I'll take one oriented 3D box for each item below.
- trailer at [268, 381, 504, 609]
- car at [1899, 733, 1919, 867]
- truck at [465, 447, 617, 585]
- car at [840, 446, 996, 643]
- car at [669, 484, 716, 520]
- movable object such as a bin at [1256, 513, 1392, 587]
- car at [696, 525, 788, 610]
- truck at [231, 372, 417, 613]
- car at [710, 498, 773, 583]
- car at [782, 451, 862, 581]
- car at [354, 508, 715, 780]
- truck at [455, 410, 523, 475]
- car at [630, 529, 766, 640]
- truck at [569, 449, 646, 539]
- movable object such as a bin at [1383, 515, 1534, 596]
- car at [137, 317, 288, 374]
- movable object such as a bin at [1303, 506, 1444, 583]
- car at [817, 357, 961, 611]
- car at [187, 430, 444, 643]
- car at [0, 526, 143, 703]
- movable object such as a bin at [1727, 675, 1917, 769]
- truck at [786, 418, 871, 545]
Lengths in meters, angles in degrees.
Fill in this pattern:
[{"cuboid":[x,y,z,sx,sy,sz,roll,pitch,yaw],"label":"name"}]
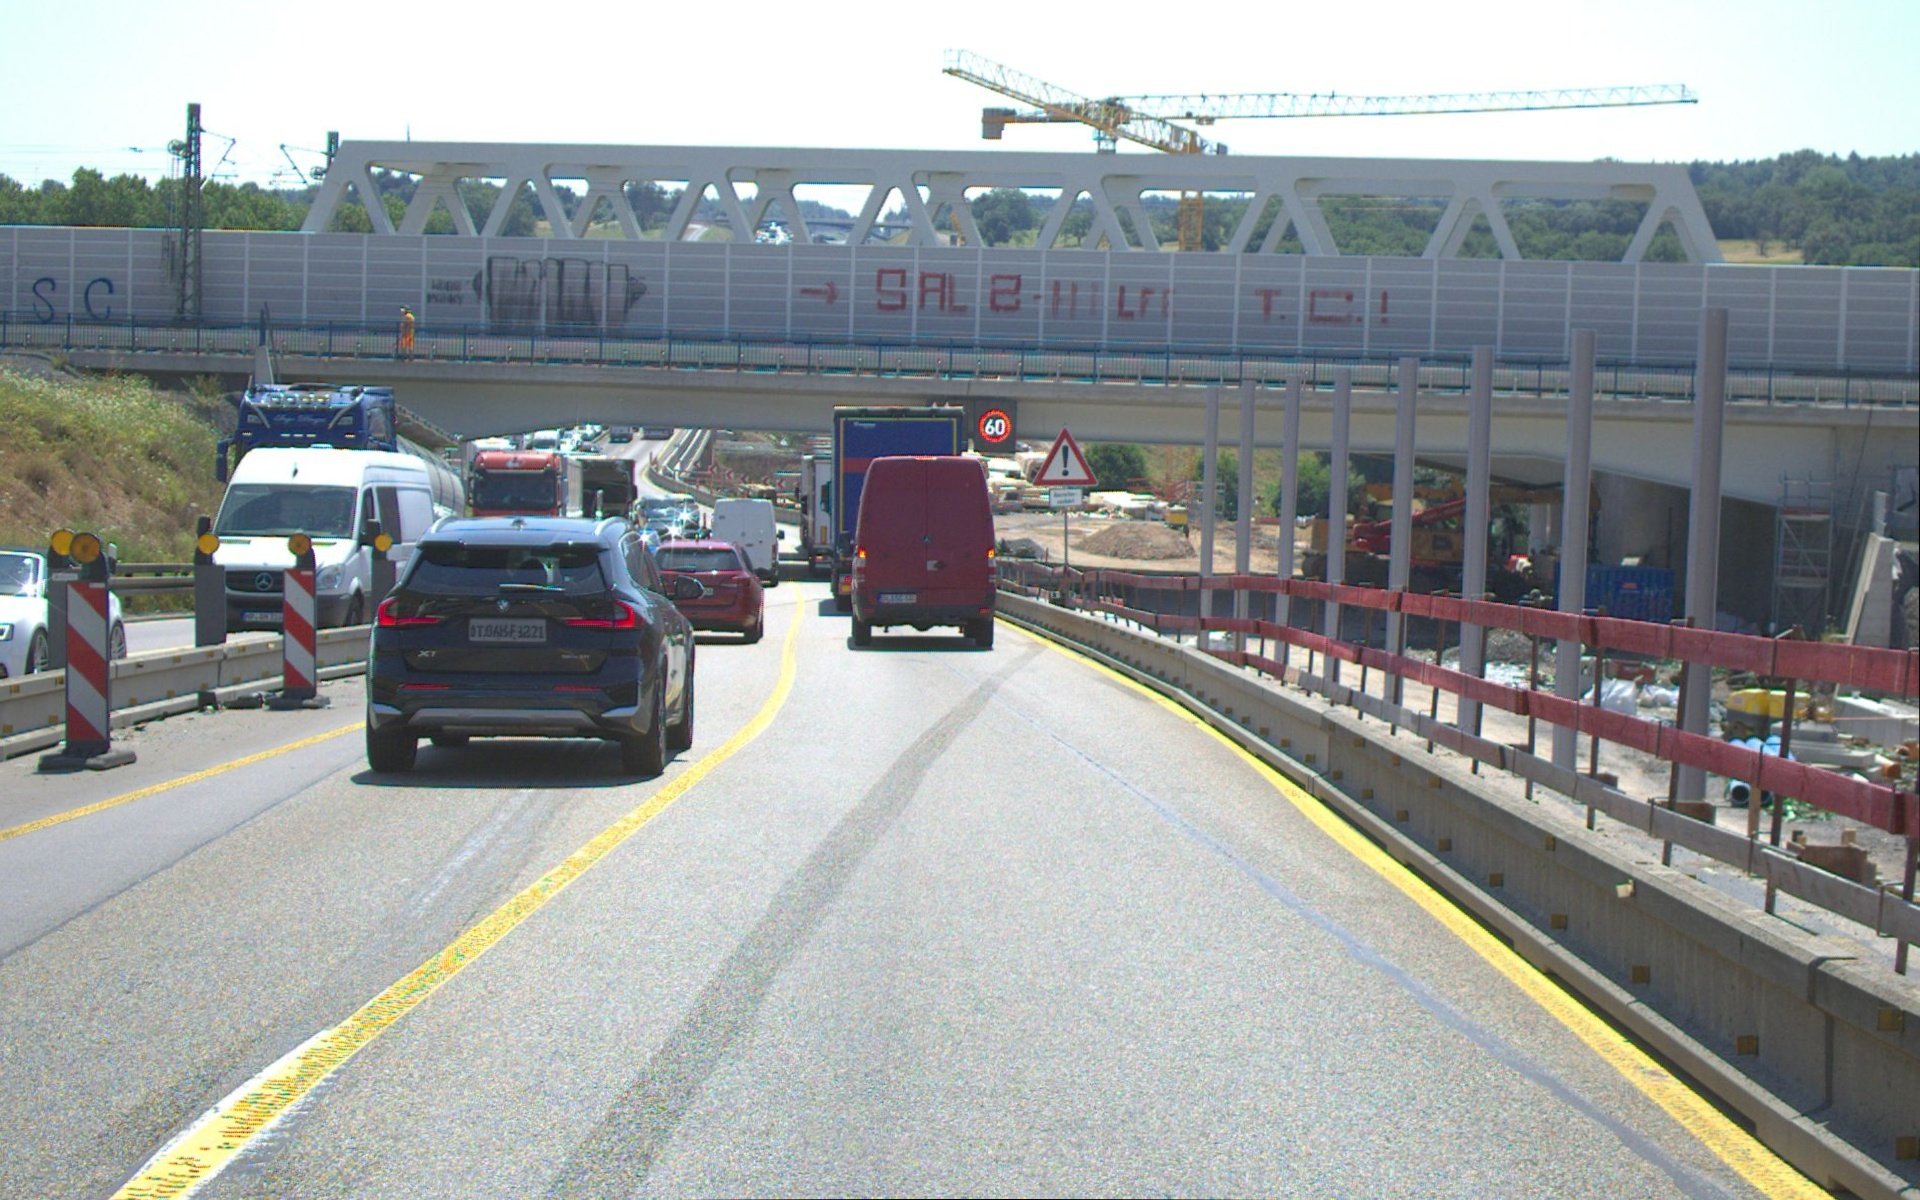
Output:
[{"cuboid":[-10.915,-1.999,66.560,2.347,4.001,11.450,1,1,1],"label":"trailer"},{"cuboid":[15.727,2.933,47.730,4.727,1.767,2.000,3,3,-2],"label":"car"},{"cuboid":[-12.430,-2.519,103.134,2.835,3.839,12.913,1,1,0],"label":"truck"},{"cuboid":[-0.653,-0.820,49.243,1.988,2.681,4.624,0,2,-4],"label":"car"},{"cuboid":[-15.064,-5.507,193.202,1.993,2.007,4.001,1,1,-13],"label":"car"},{"cuboid":[14.322,-1.970,135.494,5.147,2.798,2.142,1,1,3],"label":"movable object such as a bin"},{"cuboid":[-4.479,-0.687,70.386,1.839,1.648,4.166,0,2,-4],"label":"car"},{"cuboid":[-11.024,-1.853,59.857,2.358,4.001,4.000,1,1,1],"label":"truck"},{"cuboid":[-6.390,-1.767,100.666,1.775,2.432,4.207,0,2,-4],"label":"car"},{"cuboid":[-4.603,-2.792,113.720,2.450,4.146,6.861,0,1,-4],"label":"car"},{"cuboid":[-2.702,0.206,22.796,1.879,1.612,4.499,0,2,-1],"label":"car"},{"cuboid":[-29.673,-9.832,216.028,2.834,3.839,12.917,1,1,-14],"label":"truck"},{"cuboid":[-3.760,-0.256,49.886,1.775,1.512,4.207,0,2,-2],"label":"car"},{"cuboid":[-15.851,-4.767,155.392,2.834,3.839,12.914,1,1,-3],"label":"truck"},{"cuboid":[17.986,-1.624,124.212,5.147,2.798,2.142,1,1,3],"label":"movable object such as a bin"},{"cuboid":[-25.214,-8.589,116.058,4.555,1.776,1.960,1,1,10],"label":"car"},{"cuboid":[15.751,-2.129,131.131,5.147,2.798,2.142,1,1,3],"label":"movable object such as a bin"},{"cuboid":[-1.628,-2.444,73.400,2.620,5.015,10.399,0,2,-4],"label":"car"},{"cuboid":[-8.497,-0.872,46.033,1.993,2.598,7.011,1,1,1],"label":"car"},{"cuboid":[-8.855,0.067,31.124,1.800,1.442,4.637,1,1,0],"label":"car"},{"cuboid":[16.257,2.288,64.837,3.103,1.558,1.550,2,2,33],"label":"movable object such as a bin"},{"cuboid":[-5.927,-5.229,153.291,2.834,5.380,12.915,1,1,-6],"label":"truck"}]
